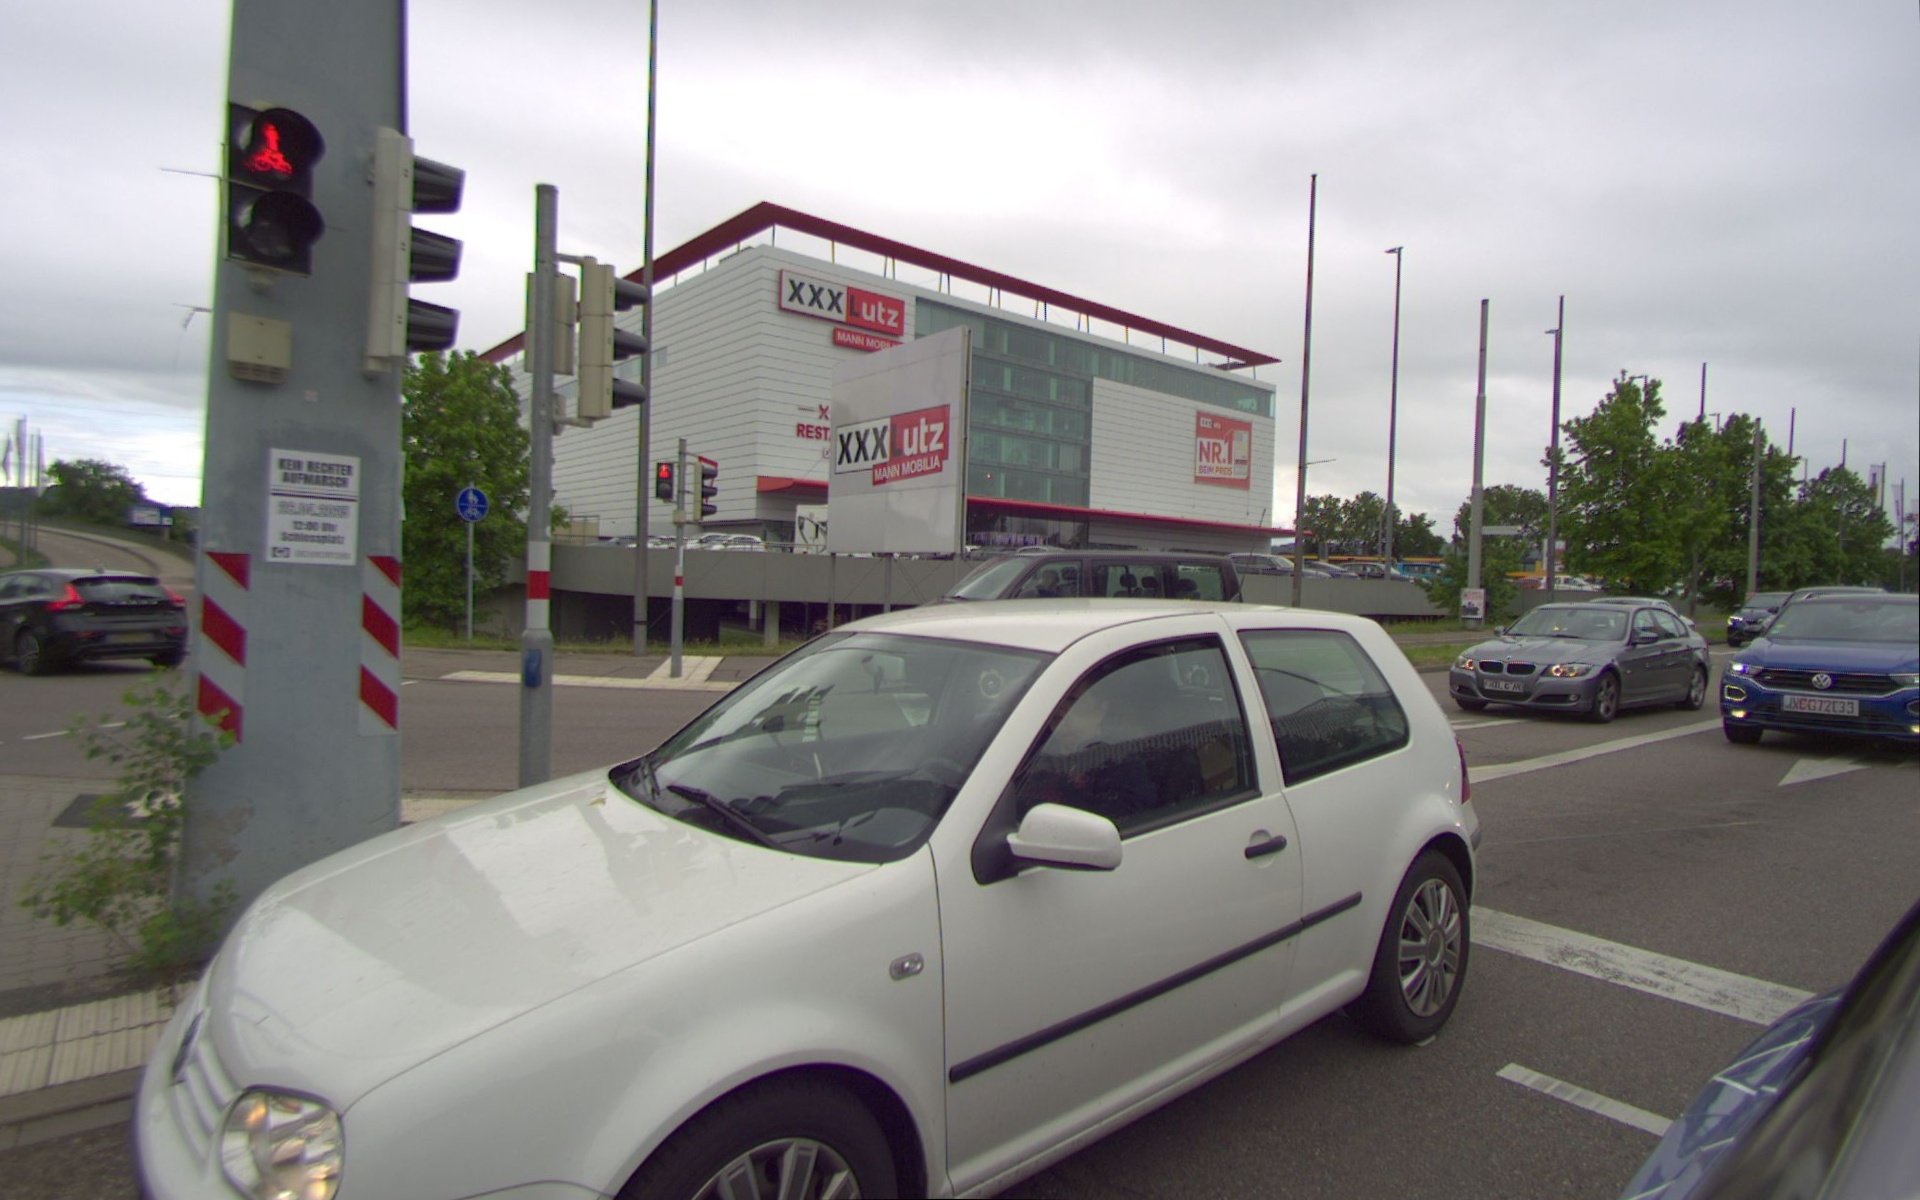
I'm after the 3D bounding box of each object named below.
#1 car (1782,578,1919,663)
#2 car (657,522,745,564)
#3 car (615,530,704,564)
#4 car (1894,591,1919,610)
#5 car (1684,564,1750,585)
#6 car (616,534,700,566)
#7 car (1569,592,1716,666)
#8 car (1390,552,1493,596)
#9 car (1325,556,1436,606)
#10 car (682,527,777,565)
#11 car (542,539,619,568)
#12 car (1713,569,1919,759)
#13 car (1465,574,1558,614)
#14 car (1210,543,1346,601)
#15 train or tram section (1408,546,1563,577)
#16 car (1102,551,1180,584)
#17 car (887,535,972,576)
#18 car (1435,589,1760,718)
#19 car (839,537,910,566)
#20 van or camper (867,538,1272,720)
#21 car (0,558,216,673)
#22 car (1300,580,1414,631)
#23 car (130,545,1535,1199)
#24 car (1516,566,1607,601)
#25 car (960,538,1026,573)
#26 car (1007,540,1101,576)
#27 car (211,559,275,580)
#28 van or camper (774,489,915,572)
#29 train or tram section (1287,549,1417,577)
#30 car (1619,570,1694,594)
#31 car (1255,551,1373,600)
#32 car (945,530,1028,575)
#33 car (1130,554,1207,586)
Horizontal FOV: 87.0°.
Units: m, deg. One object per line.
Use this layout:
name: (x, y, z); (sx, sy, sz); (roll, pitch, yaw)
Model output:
car: (19.443, 0.367, 21.823); (4.295, 1.645, 1.798); (-1, 1, -38)
car: (-13.425, -2.900, 52.489); (3.927, 2.039, 1.999); (-1, 1, -38)
car: (-16.042, -2.812, 54.116); (4.184, 1.697, 1.775); (-1, 1, -39)
car: (72.840, 0.025, 75.664); (1.771, 1.433, 4.214); (-1, 1, -39)
car: (61.477, -2.073, 82.247); (1.764, 1.585, 3.996); (-1, 1, -39)
car: (-16.982, -2.764, 56.952); (4.184, 1.697, 1.775); (-1, 1, -39)
car: (14.609, 0.546, 21.594); (3.859, 1.389, 1.692); (-1, 1, -41)
car: (23.006, -1.218, 48.425); (1.965, 2.039, 3.993); (-1, 1, -41)
car: (18.101, -0.807, 43.698); (1.965, 2.039, 3.993); (-1, 1, -41)
car: (-11.220, -2.607, 49.461); (4.184, 1.697, 1.775); (-1, 1, -39)
car: (-23.581, -2.842, 62.956); (4.184, 1.697, 1.775); (-1, 1, -39)
car: (9.602, 0.509, 10.495); (4.254, 1.642, 1.846); (-1, 1, -38)
car: (29.584, -0.340, 54.369); (1.965, 2.039, 3.993); (-1, 1, -41)
car: (11.929, -1.021, 38.186); (1.966, 2.039, 4.524); (-1, 1, -41)
train or tram section: (87.224, -6.295, 169.096); (3.571, 4.898, 23.244); (-1, 2, -42)
car: (10.132, -1.810, 56.840); (1.966, 1.760, 3.993); (-1, 1, -41)
car: (-1.592, -2.306, 53.262); (4.107, 2.039, 1.998); (-1, 1, -40)
car: (8.445, 0.618, 13.264); (4.783, 1.429, 1.818); (1, 0, -34)
car: (-5.324, -3.013, 63.180); (4.184, 1.697, 1.775); (-1, 1, -39)
van or camper: (1.427, 0.272, 13.314); (4.840, 2.039, 2.168); (-1, 1, -23)
car: (-12.990, 0.228, 14.555); (4.134, 1.468, 1.889); (0, -2, 24)
car: (16.530, 0.196, 42.251); (1.965, 2.039, 3.993); (-1, 1, -41)
car: (-0.010, 0.643, 3.149); (3.933, 1.496, 1.836); (-1, 1, -39)
car: (35.999, -0.982, 60.633); (1.965, 2.039, 4.320); (-1, 1, -41)
car: (2.024, -2.760, 63.367); (1.965, 2.039, 3.993); (-1, 1, -41)
car: (4.147, -1.825, 44.985); (1.838, 1.455, 3.986); (-1, 1, -42)
car: (-57.254, -2.416, 80.907); (4.118, 1.630, 1.722); (-1, 0, -35)
van or camper: (-5.160, -2.888, 44.139); (2.666, 3.175, 7.229); (-1, 1, -38)
train or tram section: (71.715, -6.758, 186.409); (3.571, 4.898, 23.244); (-1, 2, -42)
car: (48.682, -1.235, 70.778); (1.764, 1.585, 3.996); (-1, 1, -39)
car: (14.019, -0.944, 40.260); (1.966, 1.872, 3.993); (-1, 1, -41)
car: (1.247, -2.233, 48.459); (1.838, 1.972, 3.861); (-1, 1, -42)
car: (12.035, -1.726, 58.491); (1.966, 1.760, 3.993); (-1, 1, -41)
